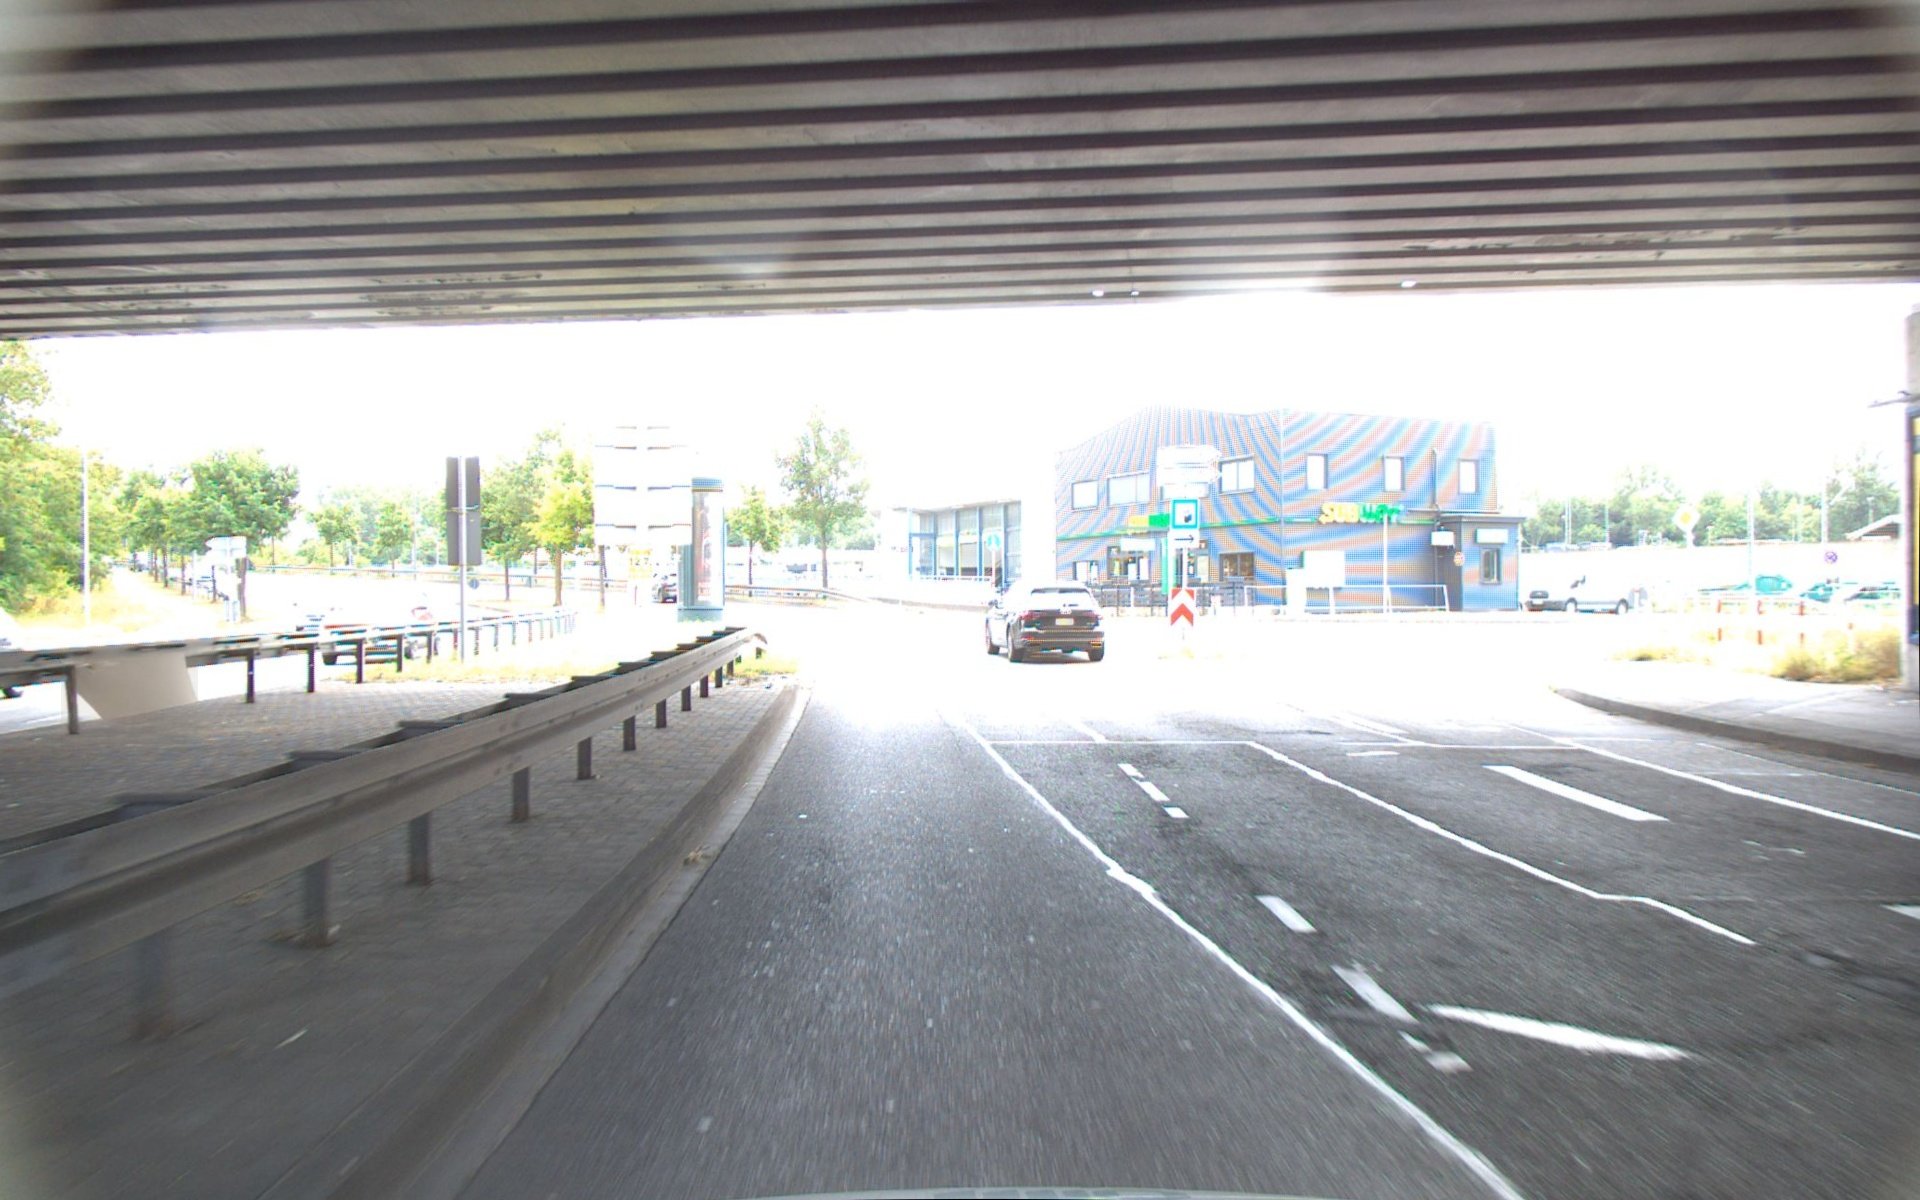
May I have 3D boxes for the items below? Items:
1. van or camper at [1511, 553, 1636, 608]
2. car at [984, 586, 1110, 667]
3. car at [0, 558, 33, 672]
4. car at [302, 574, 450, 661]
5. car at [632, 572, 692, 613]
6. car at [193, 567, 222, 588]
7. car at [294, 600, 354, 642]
[{"bbox_3d":[26.764,-0.819,72.021,6.178,2.211,2.099,1,-1,-36],"label":"van or camper"},{"bbox_3d":[1.587,0.445,31.681,1.954,1.415,4.573,1,0,-3],"label":"car"},{"bbox_3d":[-18.184,0.284,28.508,1.953,2.049,4.336,-1,0,0],"label":"car"},{"bbox_3d":[-12.256,0.351,35.002,1.955,1.704,4.317,-1,0,-6],"label":"car"},{"bbox_3d":[-15.875,-0.385,88.056,1.969,2.073,4.674,-1,0,-26],"label":"car"},{"bbox_3d":[-60.620,-1.824,133.202,1.970,1.558,4.295,-3,1,-26],"label":"car"},{"bbox_3d":[-24.908,0.783,64.890,1.723,1.537,3.985,-1,1,-14],"label":"car"}]
